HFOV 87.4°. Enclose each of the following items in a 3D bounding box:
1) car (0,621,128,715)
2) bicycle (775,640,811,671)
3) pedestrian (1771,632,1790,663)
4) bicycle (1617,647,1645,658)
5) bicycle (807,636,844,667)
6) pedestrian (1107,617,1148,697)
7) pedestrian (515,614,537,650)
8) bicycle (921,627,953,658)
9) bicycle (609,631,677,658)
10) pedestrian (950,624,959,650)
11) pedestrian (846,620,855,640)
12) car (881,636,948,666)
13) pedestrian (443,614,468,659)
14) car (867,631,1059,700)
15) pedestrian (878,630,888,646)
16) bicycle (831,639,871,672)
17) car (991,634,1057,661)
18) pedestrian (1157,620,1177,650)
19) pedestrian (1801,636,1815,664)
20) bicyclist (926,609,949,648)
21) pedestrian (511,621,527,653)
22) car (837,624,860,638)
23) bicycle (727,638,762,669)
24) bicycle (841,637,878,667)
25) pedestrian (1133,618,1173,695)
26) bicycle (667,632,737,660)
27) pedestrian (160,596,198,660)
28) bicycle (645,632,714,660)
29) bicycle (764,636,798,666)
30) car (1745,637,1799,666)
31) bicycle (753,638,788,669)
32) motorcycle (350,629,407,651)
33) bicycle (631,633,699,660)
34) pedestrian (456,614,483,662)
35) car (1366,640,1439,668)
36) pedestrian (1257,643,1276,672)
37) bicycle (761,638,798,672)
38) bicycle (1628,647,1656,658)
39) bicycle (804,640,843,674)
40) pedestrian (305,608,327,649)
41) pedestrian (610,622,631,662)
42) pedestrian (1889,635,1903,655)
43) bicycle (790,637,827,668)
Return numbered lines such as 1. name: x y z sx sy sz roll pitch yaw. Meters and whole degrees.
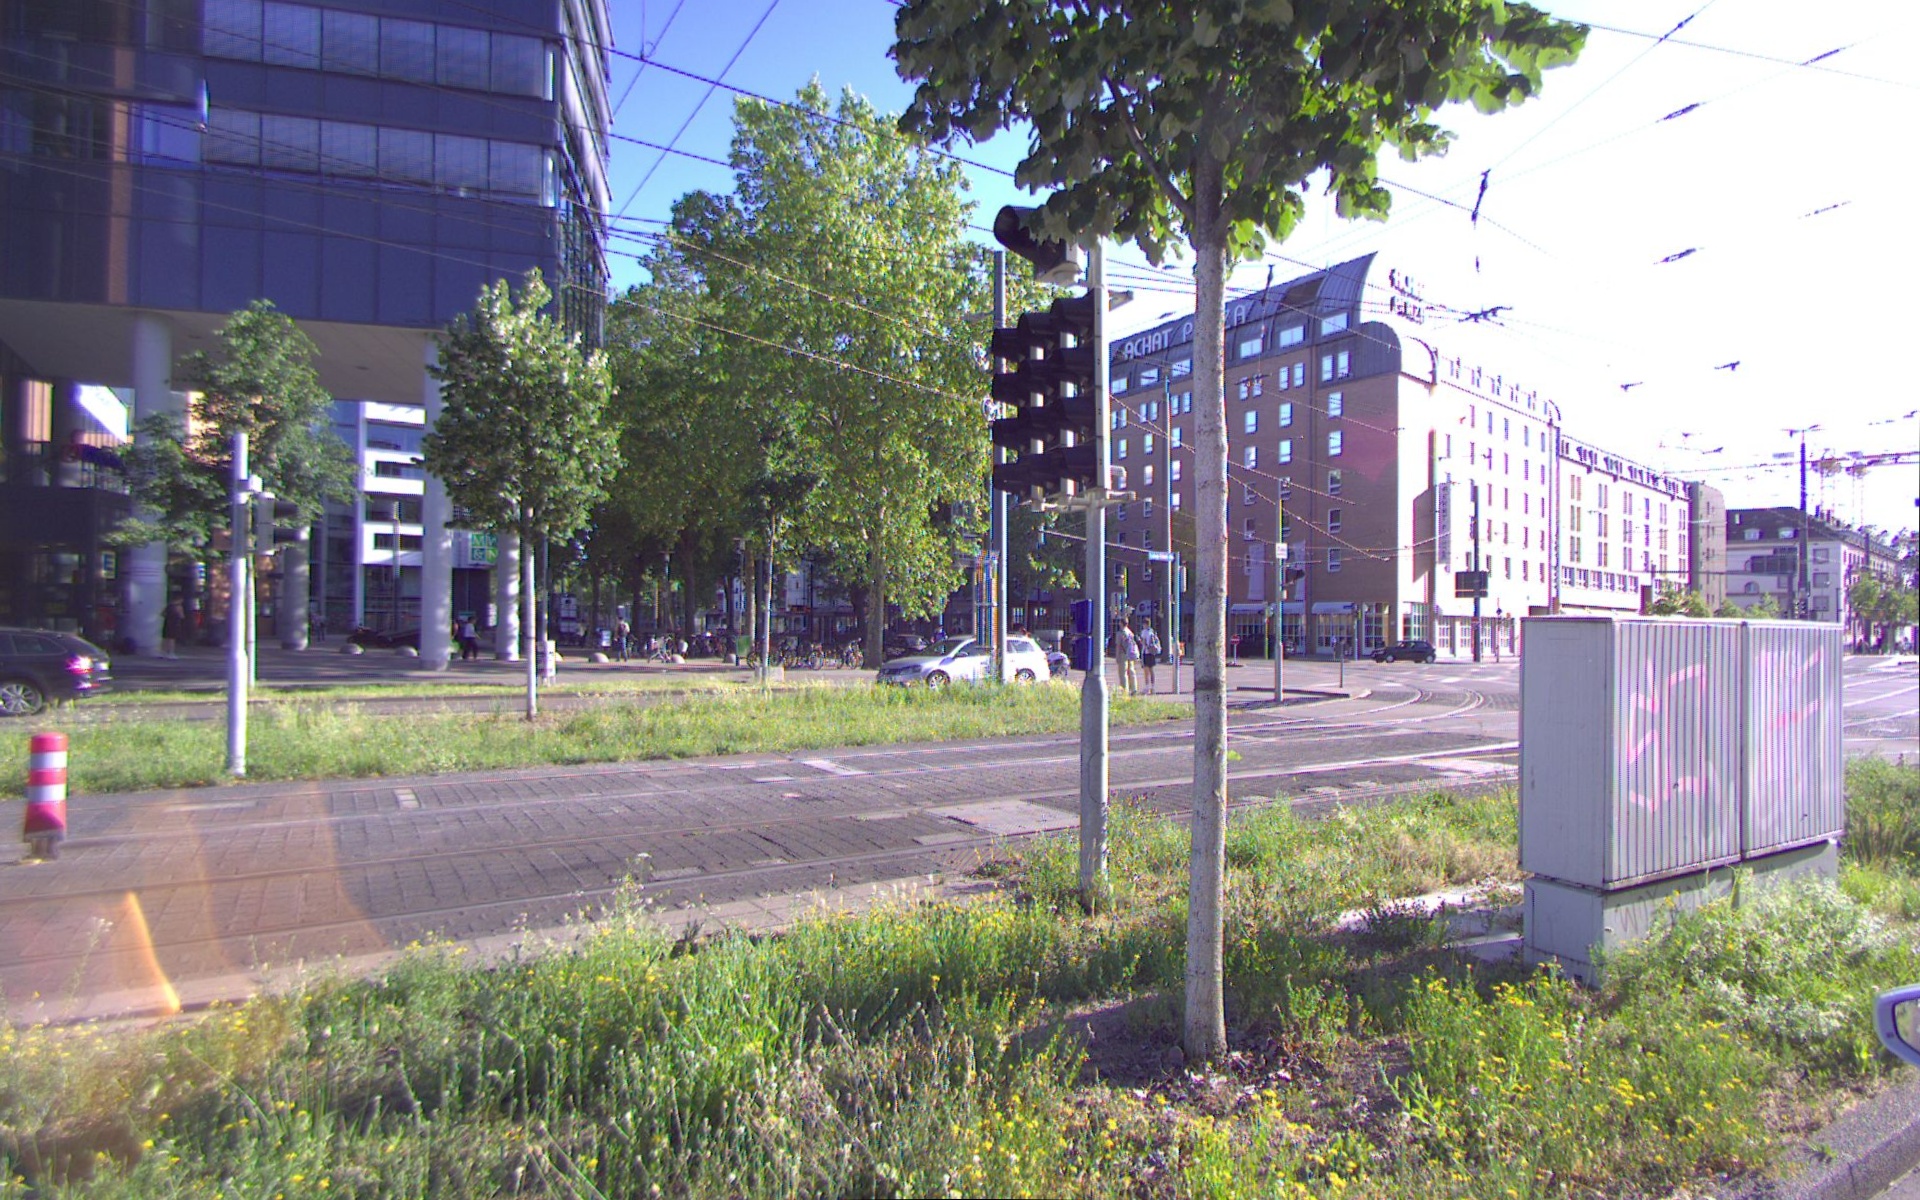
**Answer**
1. car: -17.036 1.139 16.987 4.303 1.548 1.615 1 -3 -30
2. bicycle: -6.477 2.119 38.836 0.592 1.143 2.348 0 -1 -30
3. pedestrian: 47.427 2.749 58.066 0.589 1.750 0.715 2 -2 -39
4. bicycle: 58.483 4.562 87.552 0.477 0.933 2.024 1 -2 -30
5. bicycle: -5.384 2.042 40.155 0.592 1.143 2.348 0 -1 -30
6. pedestrian: 4.073 1.377 24.411 0.691 1.894 0.728 1 -2 -31
7. pedestrian: -20.290 1.493 46.960 0.685 1.644 0.734 1 -1 1
8. bicycle: -0.904 1.616 38.325 0.683 1.152 1.843 1 -2 -19
9. bicycle: -16.716 2.336 53.122 1.021 1.371 3.342 -1 -2 44
10. pedestrian: -0.385 2.608 71.132 0.581 1.853 0.745 1 -1 -1
11. pedestrian: -9.038 2.497 83.197 0.557 1.594 0.636 2 0 -20
12. car: -2.294 2.486 49.342 1.652 1.425 3.968 2 -3 -30
13. pedestrian: -18.727 1.366 37.293 0.722 1.644 0.696 1 -1 -18
14. car: 0.151 1.563 24.811 4.758 1.548 1.610 2 -2 -37
15. pedestrian: -5.714 2.859 74.973 0.583 1.179 0.742 1 -1 -17
16. bicycle: -4.086 2.054 37.519 0.592 1.143 2.349 0 -1 -29
17. car: 3.485 2.573 55.216 1.653 1.433 3.965 2 -3 -32
18. pedestrian: 11.610 1.958 56.415 0.821 1.702 0.711 0 -1 -30
19. pedestrian: 49.592 2.923 58.738 0.573 1.598 0.644 0 -2 36
20. bicyclist: -0.866 1.092 38.243 0.683 1.480 0.751 1 -1 -19
21. pedestrian: -24.343 2.034 55.436 0.691 1.737 0.727 1 -1 -33
22. car: -14.468 4.016 130.360 1.658 1.674 3.659 2 -2 -31
23. bicycle: -8.292 2.027 38.549 0.592 1.143 2.348 0 -1 -30
24. bicycle: -4.086 2.083 40.749 0.592 1.143 2.348 0 -1 -30
25. pedestrian: 4.813 1.403 25.090 0.666 1.894 0.727 1 -2 -33
26. bicycle: -12.804 2.275 49.948 1.021 1.371 3.342 -1 -2 44
27. pedestrian: -21.420 0.767 27.559 0.691 1.727 0.728 1 -2 -31
28. bicycle: -14.302 2.342 51.272 1.021 1.371 3.342 -1 -2 44
29. bicycle: -7.348 2.067 41.121 0.592 1.143 2.348 0 -1 -30
30. car: 53.499 3.384 66.157 4.071 1.859 1.825 2 -4 -38
31. bicycle: -7.377 2.050 39.086 0.592 1.143 2.348 0 -1 -30
32. motorcycle: -28.658 1.988 49.576 2.309 1.072 0.828 1 -1 -22
33. bicycle: -15.356 2.395 52.339 1.021 1.371 3.342 -1 -2 44
34. pedestrian: -17.643 1.366 36.122 0.819 1.702 0.712 -1 -1 -23
35. car: 27.250 3.336 61.858 3.785 1.622 1.615 1 -1 0
36. pedestrian: 18.670 3.505 61.208 0.824 1.702 0.708 0 -1 -39
37. bicycle: -6.506 1.968 36.076 0.592 1.143 2.349 0 -1 -29
38. bicycle: 59.632 4.562 87.809 0.477 0.933 2.024 1 -2 -30
39. bicycle: -4.962 2.042 36.418 0.592 1.143 2.349 0 -1 -29
40. pedestrian: -26.038 1.161 40.631 0.691 1.644 0.728 1 -1 -31
41. pedestrian: -14.511 1.787 42.930 0.691 1.674 0.700 2 -1 -32
42. pedestrian: 82.300 3.949 88.357 0.850 1.692 0.781 0 0 39
43. bicycle: -5.901 2.029 39.107 0.592 1.143 2.348 0 -1 -30
